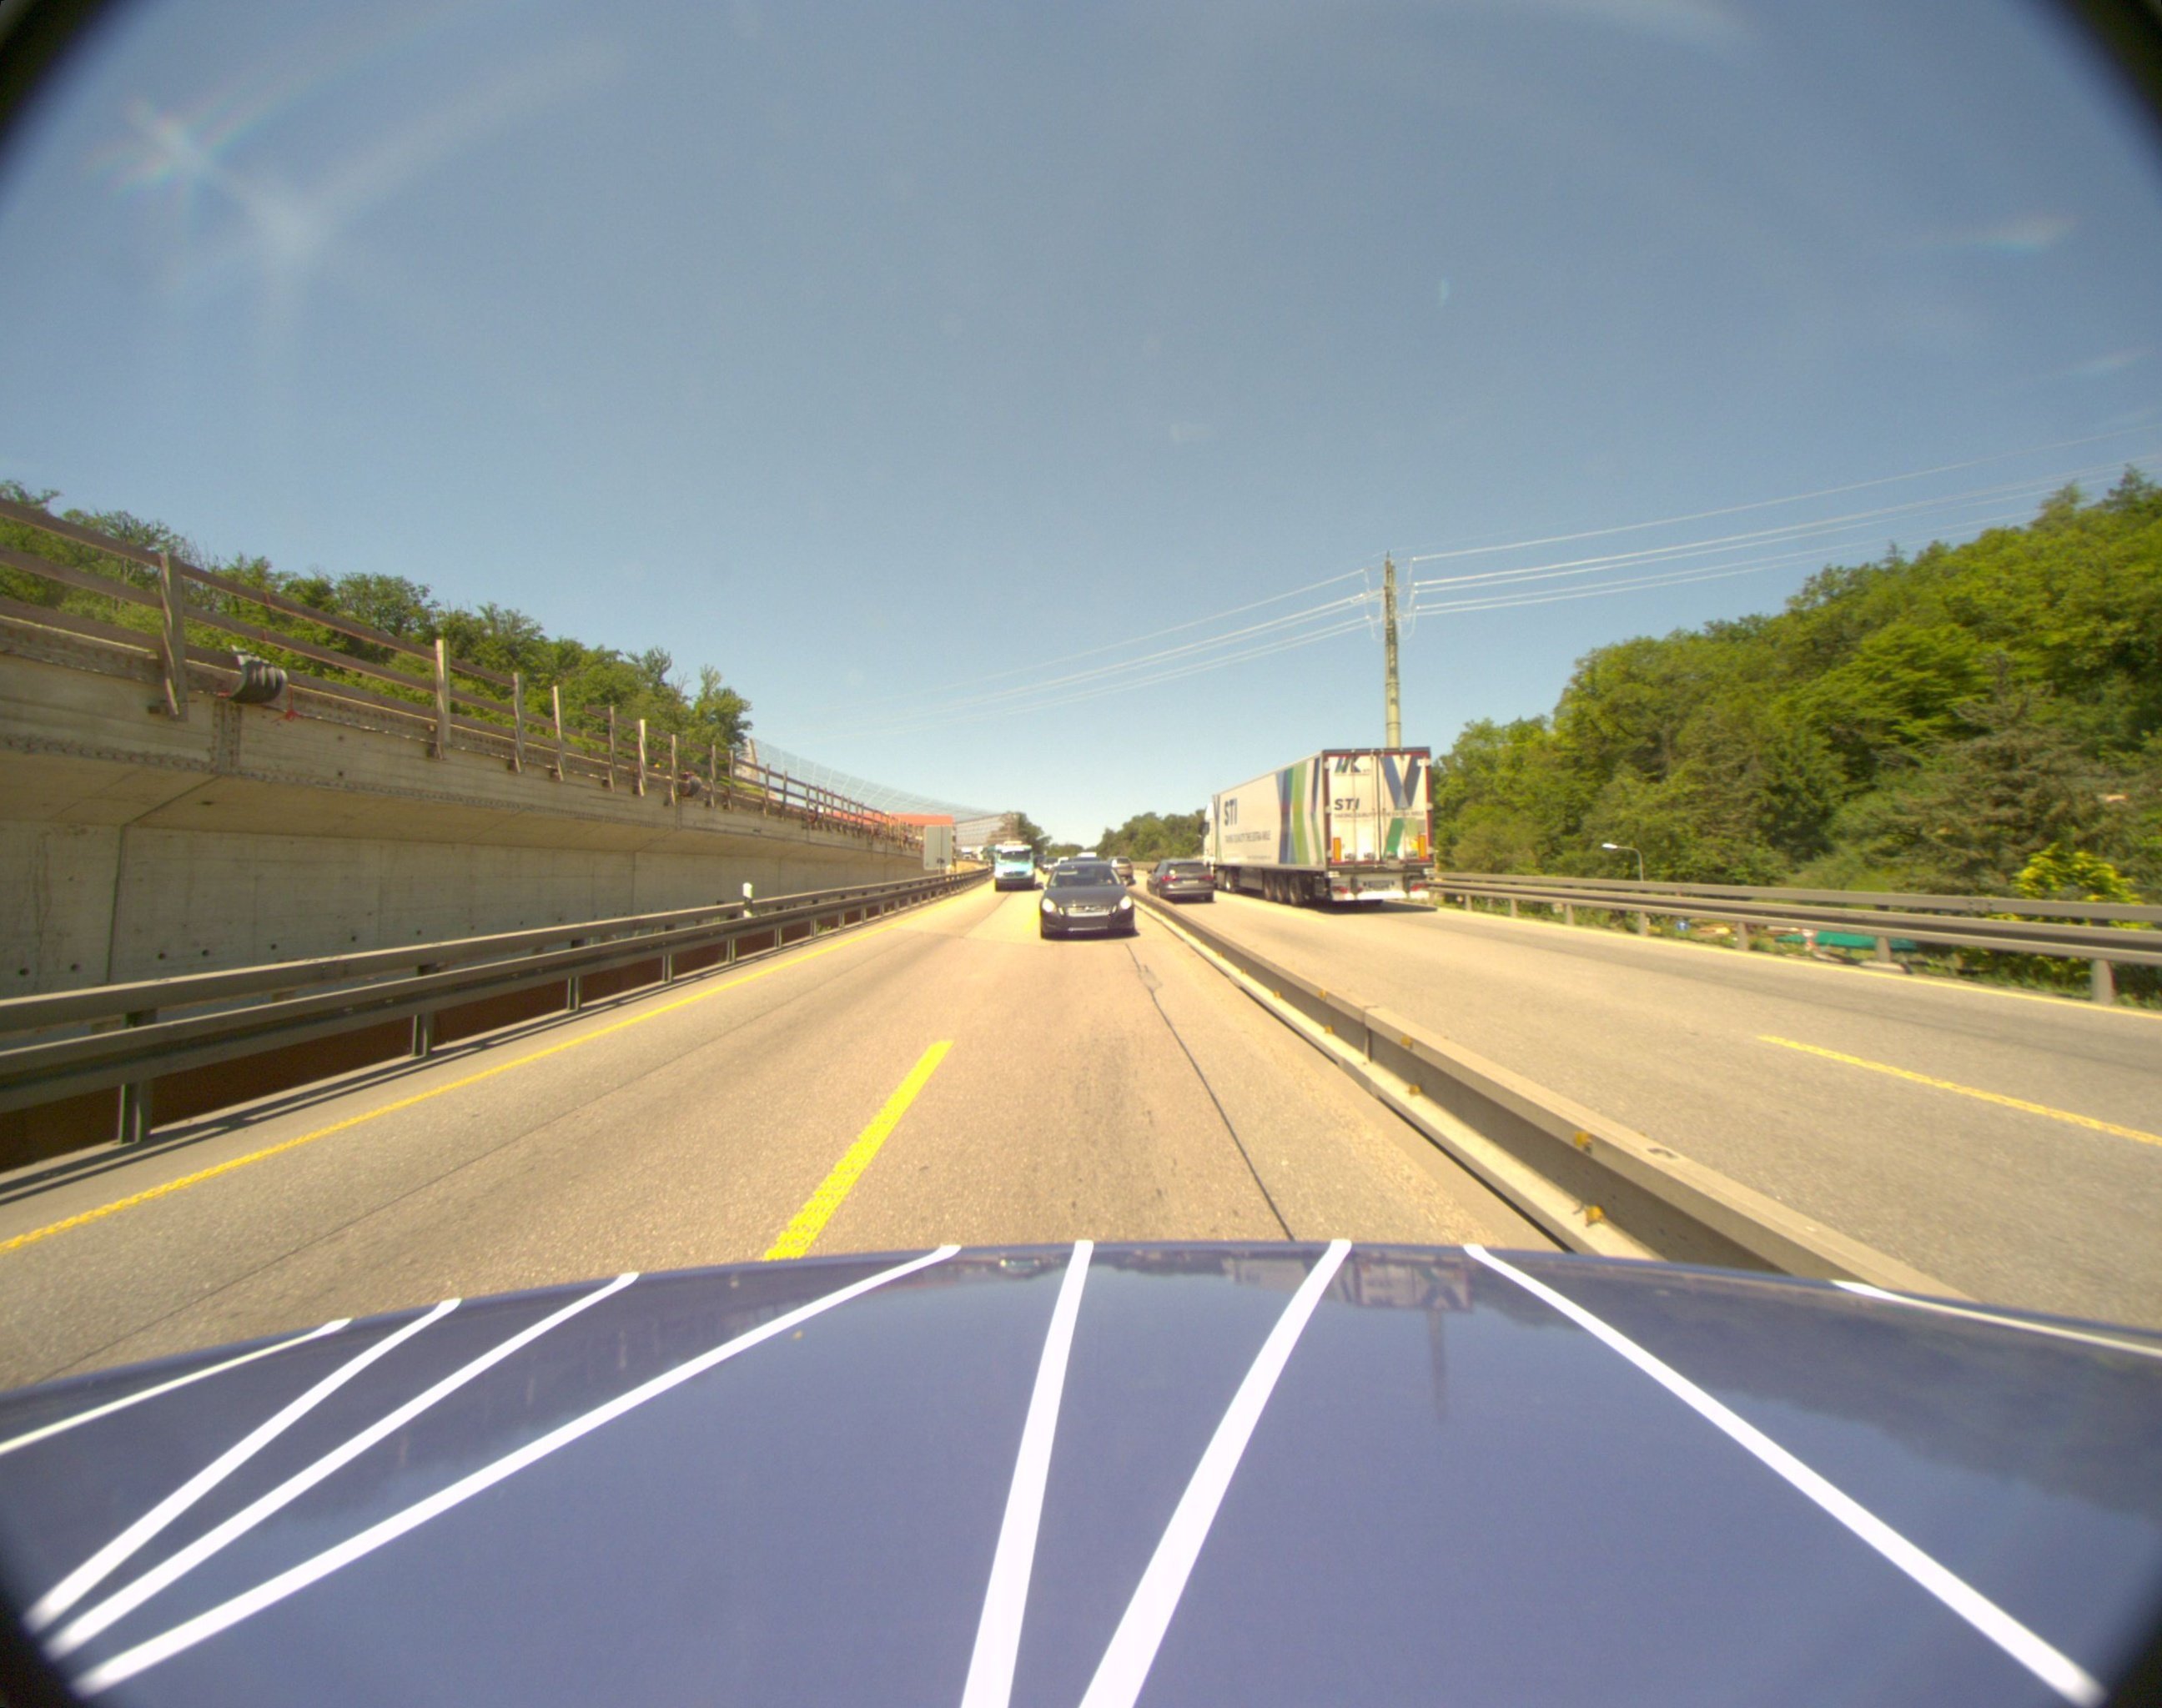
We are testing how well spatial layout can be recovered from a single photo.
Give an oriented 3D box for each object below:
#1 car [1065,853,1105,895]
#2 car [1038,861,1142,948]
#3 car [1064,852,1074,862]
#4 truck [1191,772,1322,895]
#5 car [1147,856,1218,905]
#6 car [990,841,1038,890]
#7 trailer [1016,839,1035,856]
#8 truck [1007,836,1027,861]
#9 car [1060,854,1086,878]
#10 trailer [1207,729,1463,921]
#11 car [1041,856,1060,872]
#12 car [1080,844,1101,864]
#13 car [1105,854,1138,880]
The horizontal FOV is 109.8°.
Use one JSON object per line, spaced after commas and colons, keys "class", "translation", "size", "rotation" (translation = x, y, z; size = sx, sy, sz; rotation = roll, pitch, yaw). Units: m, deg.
{"class": "car", "translation": [0.164, 0.768, 31.346], "size": [1.519, 1.543, 3.860], "rotation": [-2, 1, 0]}
{"class": "car", "translation": [0.039, 0.935, 16.026], "size": [1.844, 1.475, 4.561], "rotation": [-2, 0, -3]}
{"class": "car", "translation": [-2.616, 0.651, 159.485], "size": [1.999, 1.999, 4.856], "rotation": [-1, 1, -2]}
{"class": "truck", "translation": [6.994, -0.783, 31.830], "size": [3.312, 4.337, 8.299], "rotation": [-3, 1, -1]}
{"class": "car", "translation": [3.356, 0.827, 25.974], "size": [1.795, 1.444, 4.634], "rotation": [-1, 1, 0]}
{"class": "car", "translation": [-3.399, 0.516, 40.008], "size": [2.218, 2.312, 6.899], "rotation": [-1, 1, -3]}
{"class": "trailer", "translation": [-15.451, -1.782, 209.778], "size": [3.501, 4.461, 12.912], "rotation": [-3, 1, -11]}
{"class": "truck", "translation": [-9.966, -0.846, 117.341], "size": [2.472, 3.464, 9.860], "rotation": [-3, 1, -8]}
{"class": "car", "translation": [-0.577, 0.830, 54.194], "size": [1.736, 1.557, 3.619], "rotation": [-2, 1, 0]}
{"class": "trailer", "translation": [7.112, -0.757, 24.794], "size": [3.260, 4.353, 14.054], "rotation": [-3, 1, -1]}
{"class": "car", "translation": [-2.919, 0.973, 73.111], "size": [1.647, 1.366, 3.344], "rotation": [-2, 1, 1]}
{"class": "car", "translation": [0.993, -0.035, 79.623], "size": [1.999, 1.999, 4.856], "rotation": [-1, 1, -2]}
{"class": "car", "translation": [2.665, 0.841, 50.918], "size": [1.850, 1.565, 3.999], "rotation": [-2, 1, -2]}
